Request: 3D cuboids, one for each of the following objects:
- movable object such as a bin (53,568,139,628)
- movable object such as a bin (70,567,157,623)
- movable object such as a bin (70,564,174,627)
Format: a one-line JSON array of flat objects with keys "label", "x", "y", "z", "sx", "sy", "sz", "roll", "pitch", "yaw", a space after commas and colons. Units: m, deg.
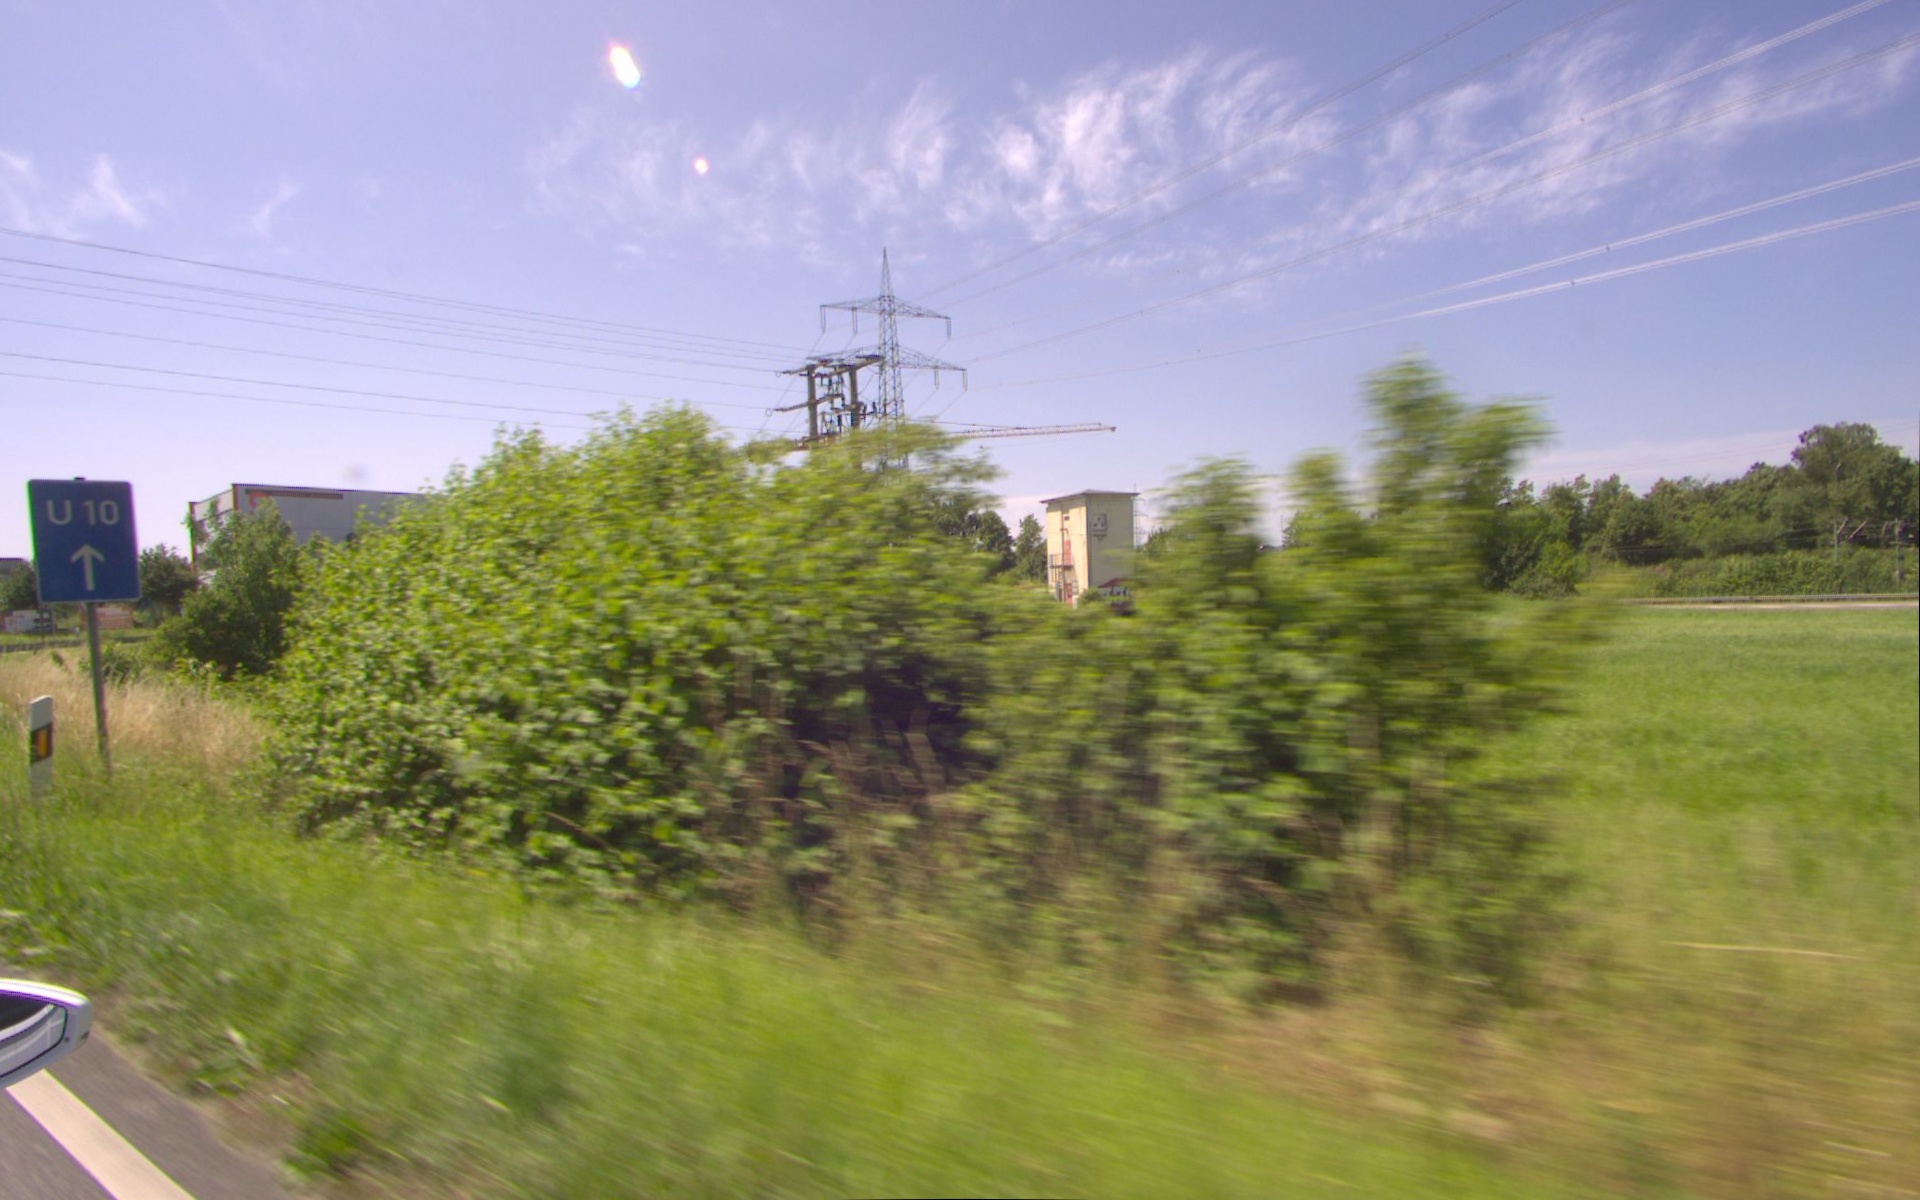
[{"label": "movable object such as a bin", "x": -81.561, "y": -0.176, "z": 94.547, "sx": 3.186, "sy": 5.335, "sz": 5.689, "roll": -4, "pitch": -2, "yaw": 41}, {"label": "movable object such as a bin", "x": -69.109, "y": -0.353, "z": 81.810, "sx": 2.803, "sy": 4.329, "sz": 5.060, "roll": -4, "pitch": -2, "yaw": 41}, {"label": "movable object such as a bin", "x": -74.554, "y": -0.375, "z": 89.141, "sx": 3.765, "sy": 5.212, "sz": 6.559, "roll": -4, "pitch": -2, "yaw": 41}]
